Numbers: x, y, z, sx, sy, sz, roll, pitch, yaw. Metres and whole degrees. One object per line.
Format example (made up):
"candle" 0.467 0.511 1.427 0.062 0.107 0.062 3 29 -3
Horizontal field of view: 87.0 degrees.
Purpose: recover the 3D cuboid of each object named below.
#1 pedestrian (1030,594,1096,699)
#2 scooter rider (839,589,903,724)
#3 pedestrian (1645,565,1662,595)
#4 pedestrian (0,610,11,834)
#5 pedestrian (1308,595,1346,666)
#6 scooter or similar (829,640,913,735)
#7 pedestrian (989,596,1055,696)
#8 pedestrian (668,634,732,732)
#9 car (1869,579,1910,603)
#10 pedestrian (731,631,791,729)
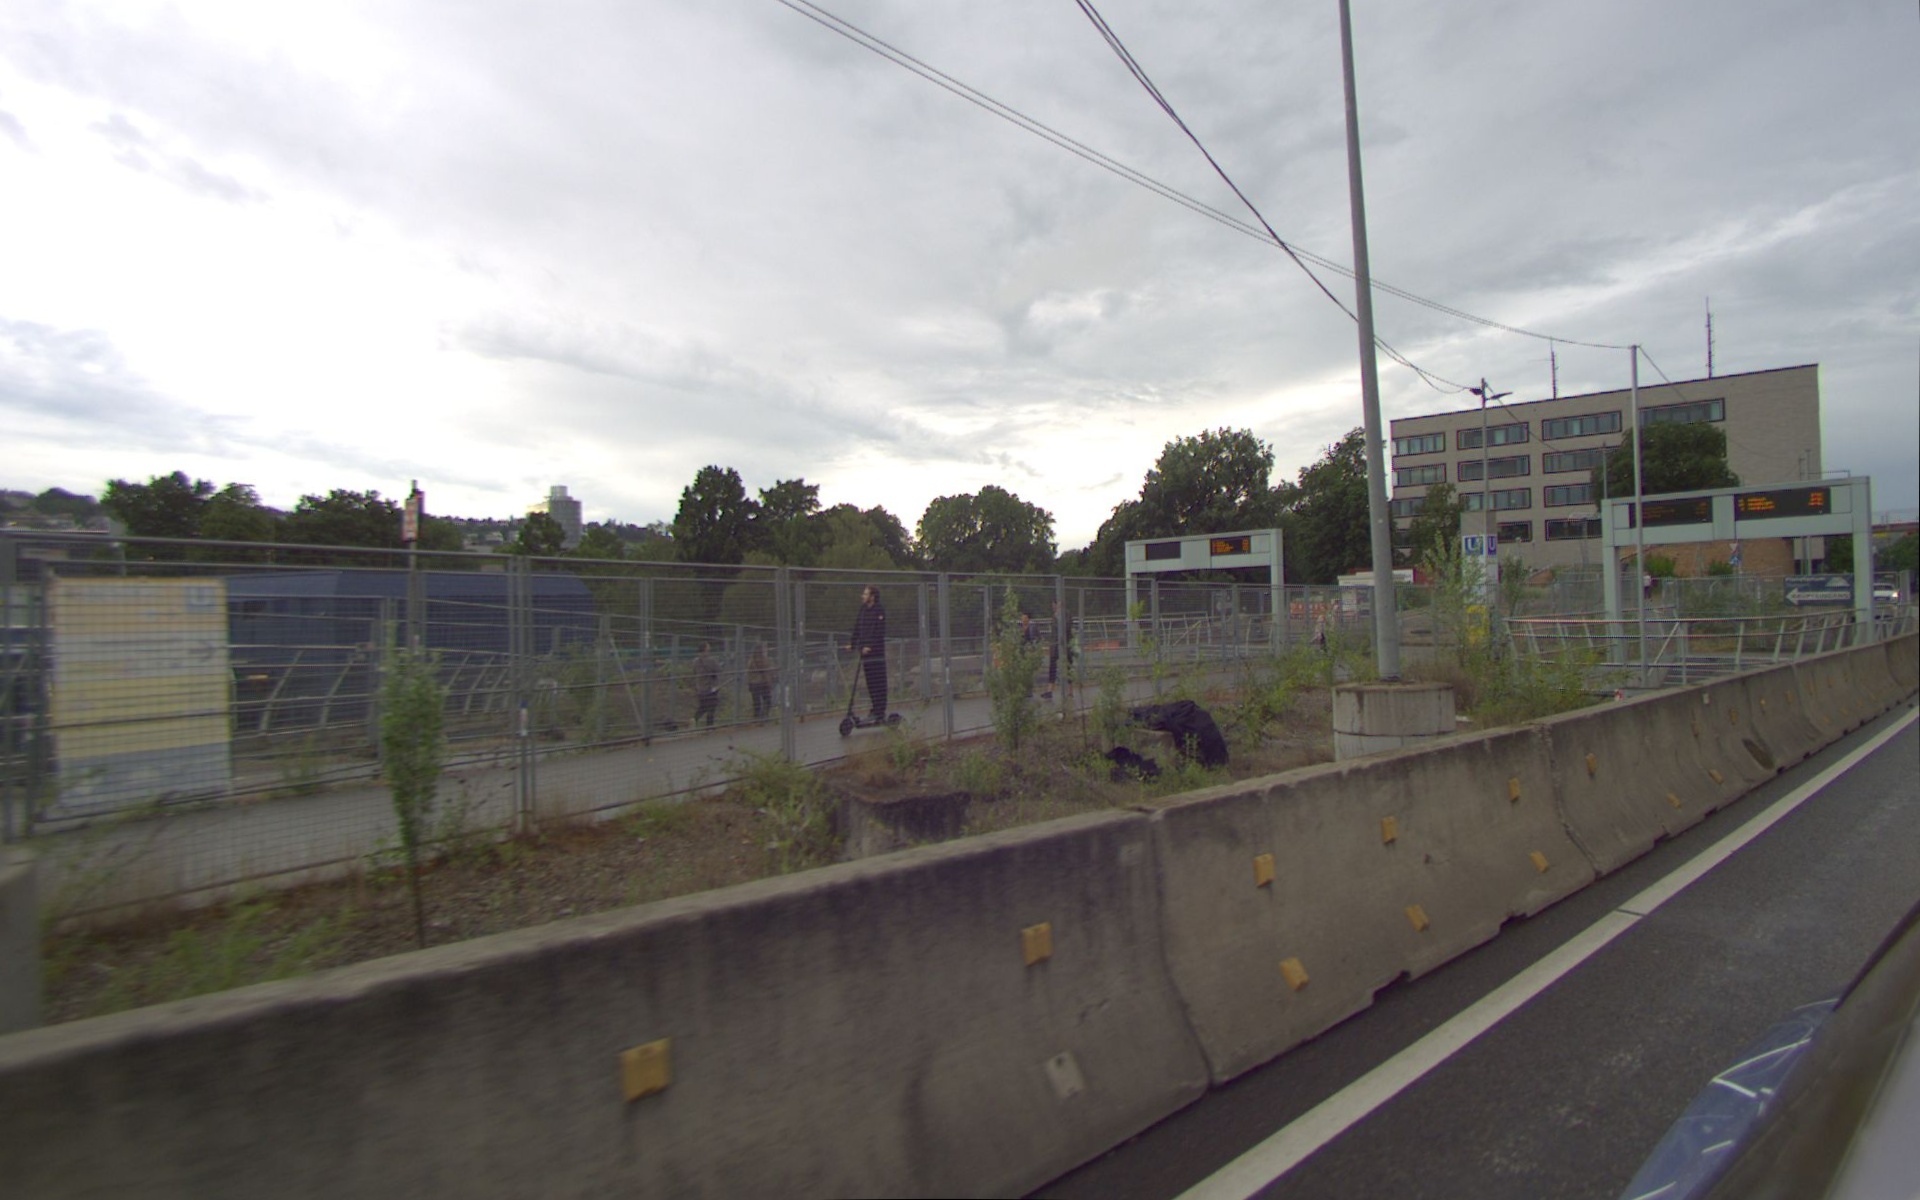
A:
"pedestrian" 1.866 0.813 18.276 0.689 1.800 1.008 -1 1 42
"scooter rider" -1.214 0.749 13.785 0.521 1.778 0.688 -1 0 45
"pedestrian" 42.176 -1.192 61.575 0.685 1.800 0.808 -1 0 26
"pedestrian" -7.865 0.933 7.719 0.885 1.679 1.020 -2 1 -44
"pedestrian" 9.602 0.778 26.487 0.688 1.800 0.804 -1 0 37
"scooter or similar" -1.207 1.167 13.782 0.491 1.194 1.078 -1 0 44
"pedestrian" 1.169 0.833 19.084 0.726 1.800 1.007 -1 1 44
"pedestrian" -4.985 1.575 19.454 0.802 1.801 0.876 -2 -2 28
"car" 62.905 -0.612 68.531 1.765 1.553 4.589 -2 -1 40
"pedestrian" -3.832 1.519 19.497 0.802 1.801 0.823 -2 -2 27
